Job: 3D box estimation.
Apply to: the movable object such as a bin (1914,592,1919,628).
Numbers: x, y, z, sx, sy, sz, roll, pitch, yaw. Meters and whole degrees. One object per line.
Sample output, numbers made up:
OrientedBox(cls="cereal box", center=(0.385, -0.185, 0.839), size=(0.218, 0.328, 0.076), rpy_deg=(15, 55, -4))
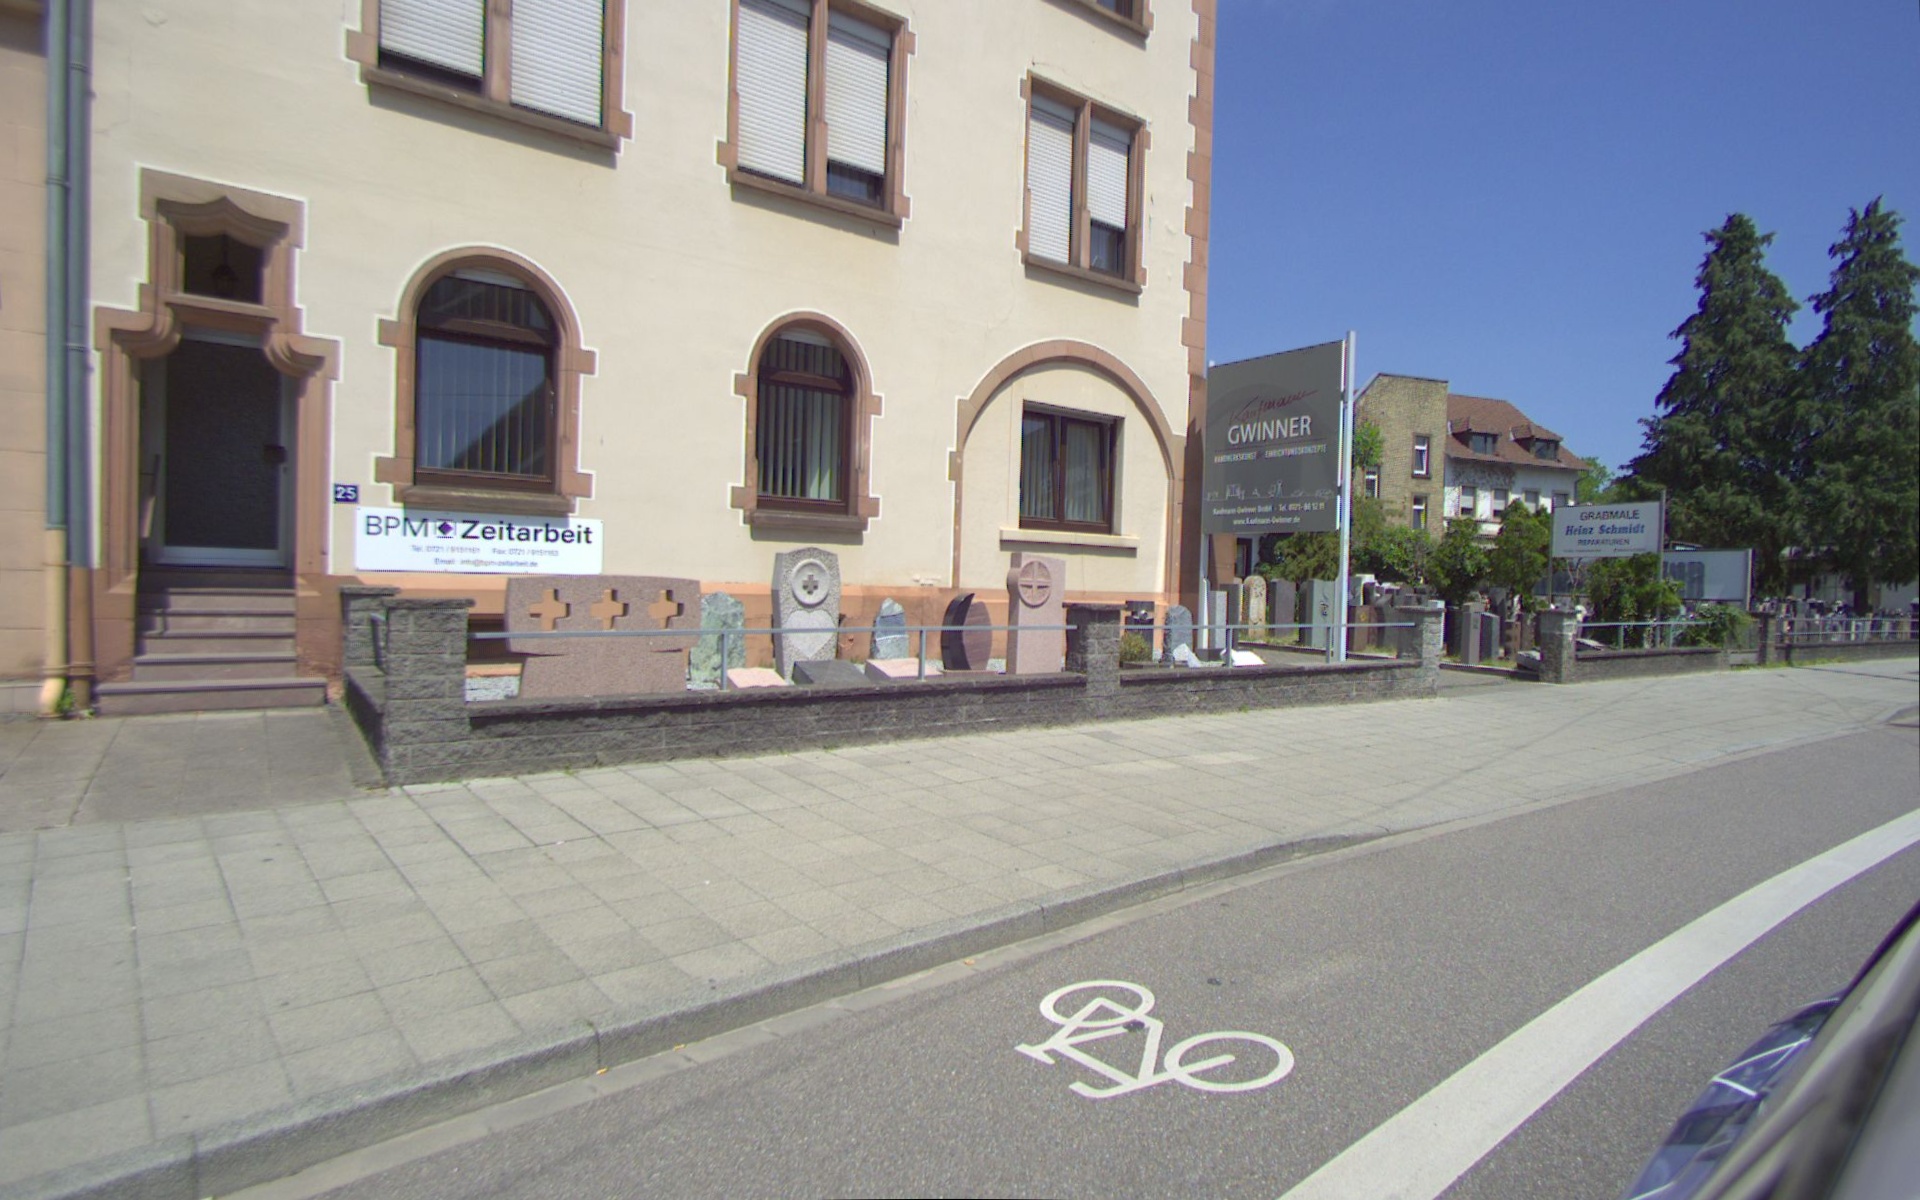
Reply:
OrientedBox(cls="movable object such as a bin", center=(41.333, 0.452, 42.577), size=(1.128, 1.500, 1.394), rpy_deg=(1, 1, -28))
